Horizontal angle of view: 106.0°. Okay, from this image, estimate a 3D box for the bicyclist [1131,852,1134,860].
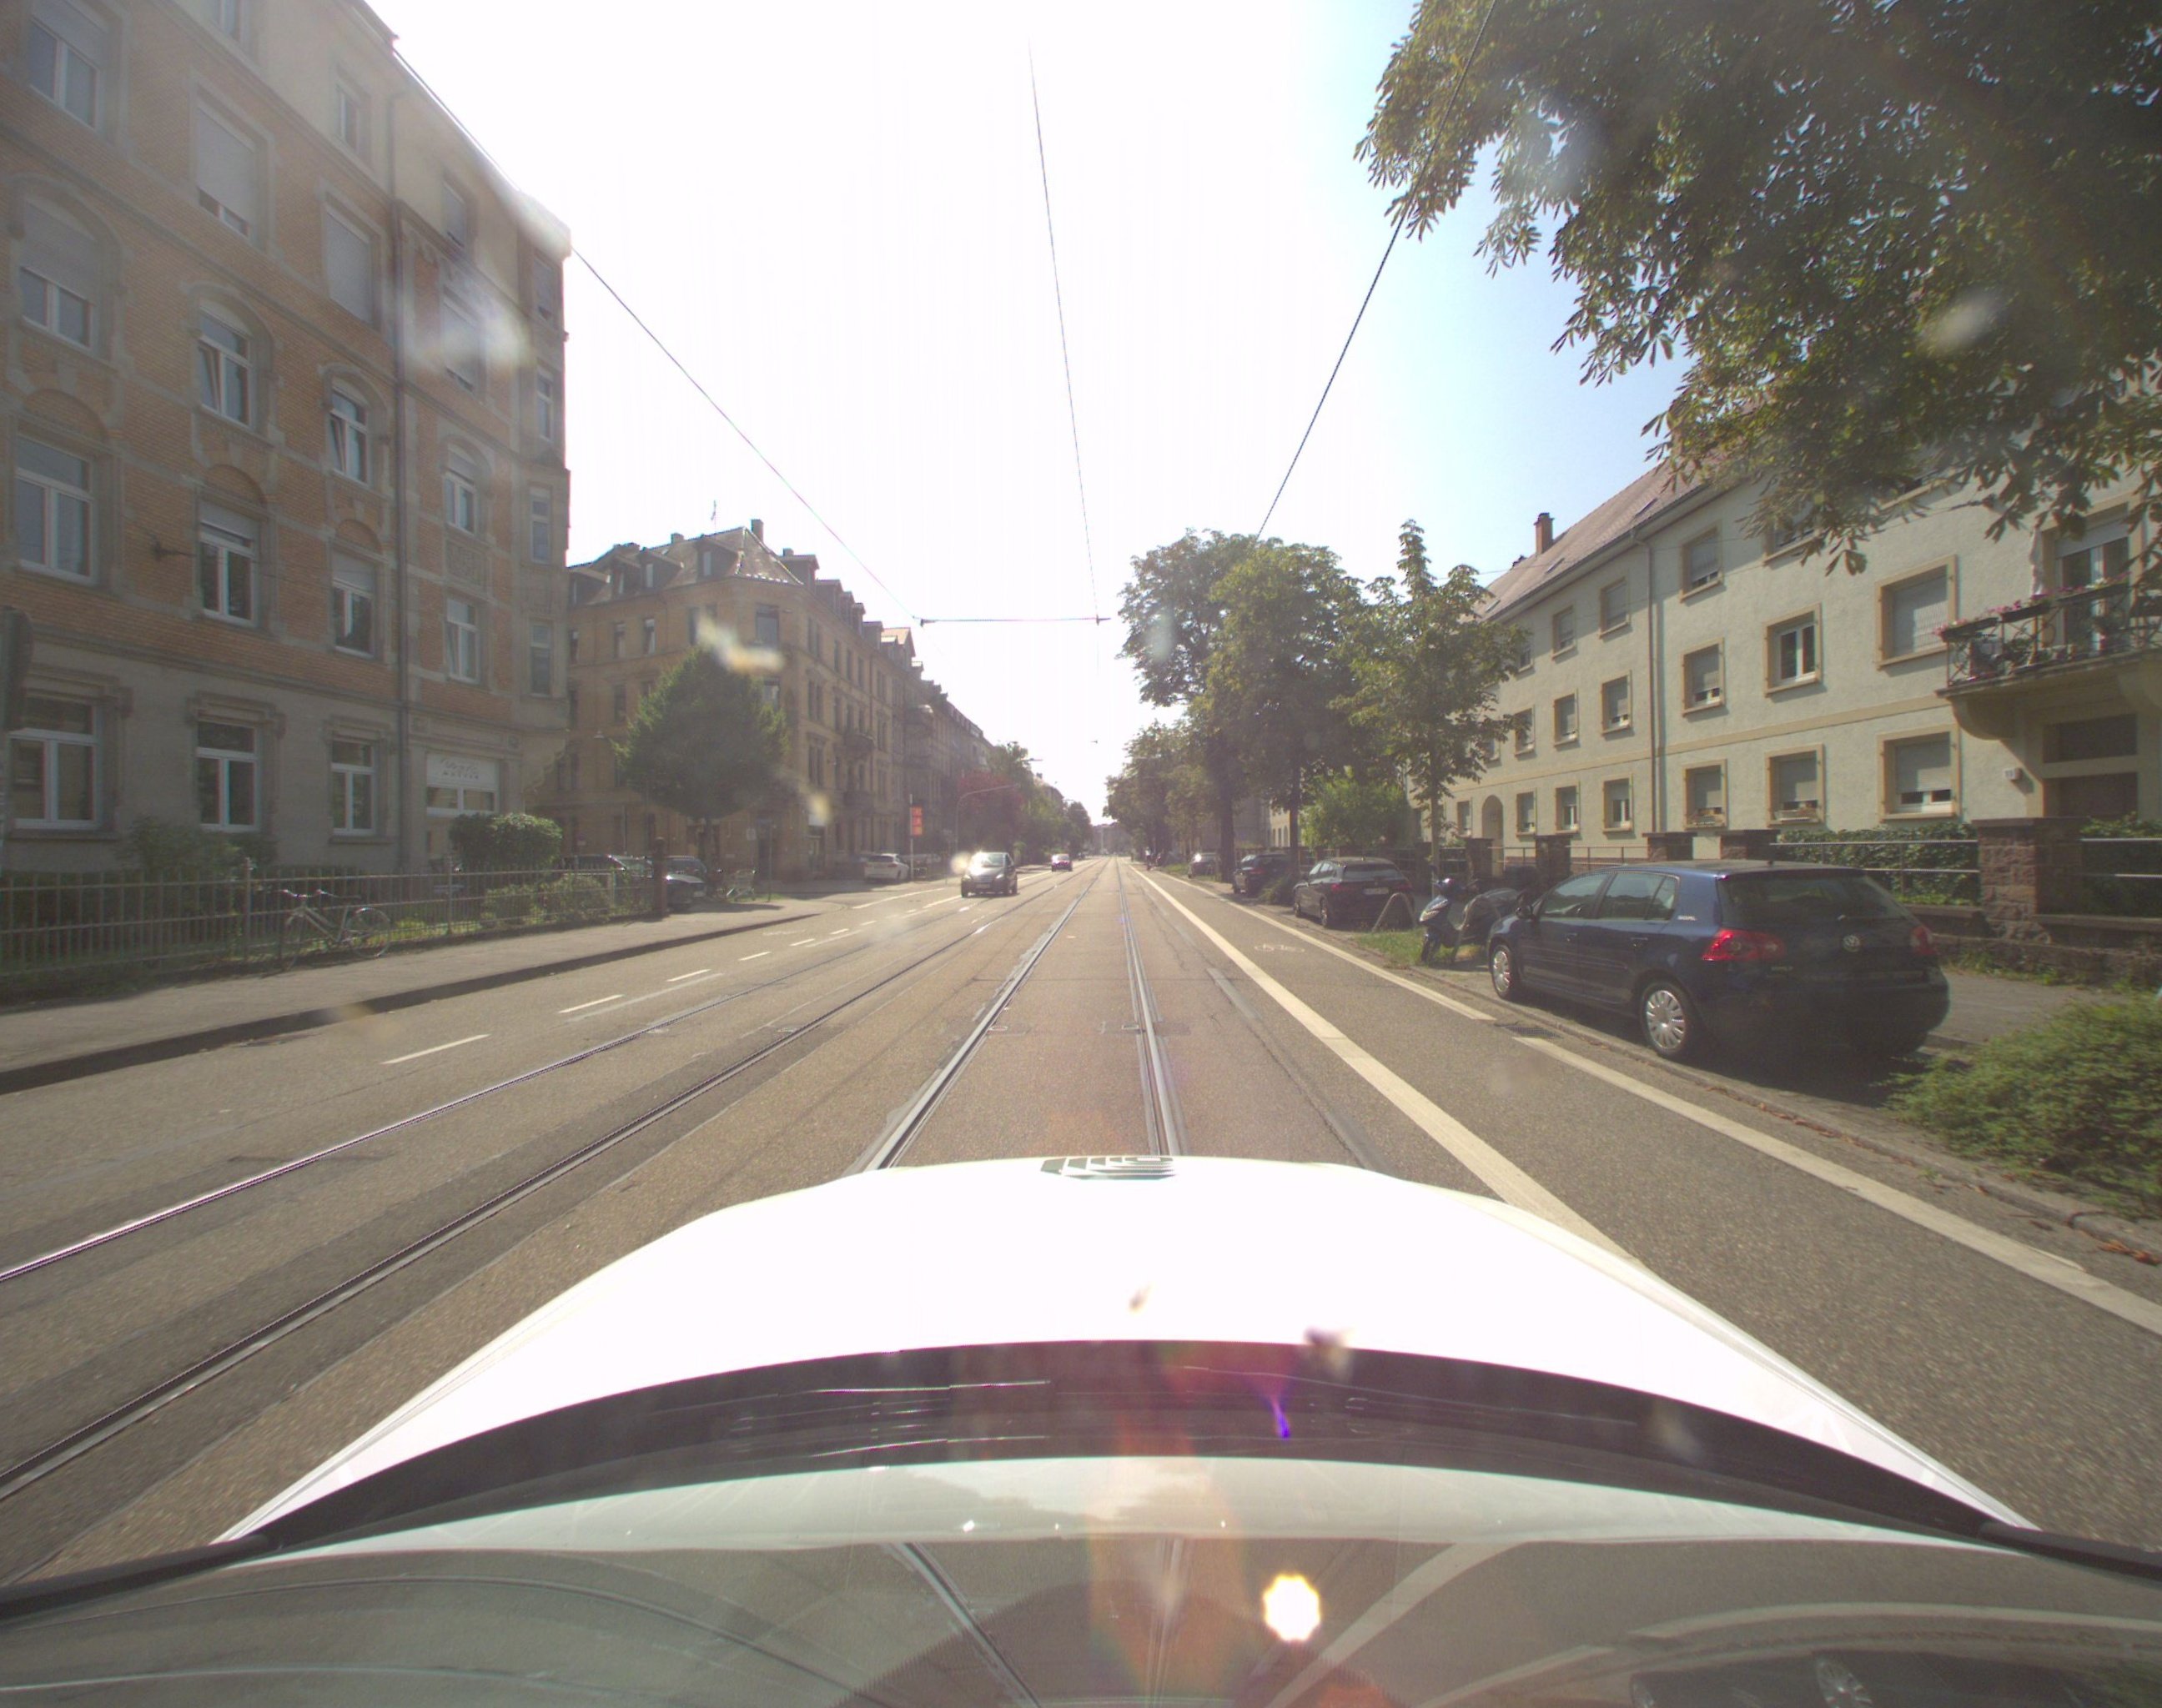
[{"bbox_3d":[8.493,0.315,134.072,0.576,1.279,0.472,0,-1,5],"label":"bicyclist"}]

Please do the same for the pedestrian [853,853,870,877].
[{"bbox_3d":[-13.684,0.680,50.781,0.866,1.511,0.884,0,0,-6],"label":"pedestrian"}]

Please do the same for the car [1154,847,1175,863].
[{"bbox_3d":[8.766,0.133,85.733,1.833,1.532,4.117,-1,2,2],"label":"car"}]

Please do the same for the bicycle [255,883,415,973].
[{"bbox_3d":[-10.039,0.950,11.055,0.388,1.038,1.835,0,0,3],"label":"bicycle"}]

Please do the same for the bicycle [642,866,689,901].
[{"bbox_3d":[-13.364,0.947,26.204,1.437,1.099,0.392,0,1,13],"label":"bicycle"}]

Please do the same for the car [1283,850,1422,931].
[{"bbox_3d":[5.915,0.733,18.319,1.748,1.477,4.460,-4,0,3],"label":"car"}]

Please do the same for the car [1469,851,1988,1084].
[{"bbox_3d":[5.232,0.747,7.400,1.610,1.477,4.042,-2,0,3],"label":"car"}]

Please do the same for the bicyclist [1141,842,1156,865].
[{"bbox_3d":[5.393,-0.030,65.265,1.120,1.837,0.956,0,-1,3],"label":"bicyclist"}]

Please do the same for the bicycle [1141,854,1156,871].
[{"bbox_3d":[5.410,0.659,65.301,1.143,1.269,2.715,-1,0,4],"label":"bicycle"}]

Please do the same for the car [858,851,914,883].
[{"bbox_3d":[-10.471,0.664,44.032,1.988,1.594,4.357,-1,0,-1],"label":"car"}]

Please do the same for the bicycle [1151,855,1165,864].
[{"bbox_3d":[9.417,0.669,99.493,1.712,1.149,0.378,0,0,8],"label":"bicycle"}]

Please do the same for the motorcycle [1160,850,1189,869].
[{"bbox_3d":[8.029,0.465,70.205,2.316,1.540,0.974,-3,-2,43],"label":"motorcycle"}]

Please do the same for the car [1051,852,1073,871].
[{"bbox_3d":[-1.630,0.645,71.145,1.725,1.490,4.002,-1,0,2],"label":"car"}]

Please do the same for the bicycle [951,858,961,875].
[{"bbox_3d":[-8.178,0.813,53.354,0.389,1.099,1.568,0,0,0],"label":"bicycle"}]

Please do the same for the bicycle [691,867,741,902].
[{"bbox_3d":[-11.884,0.986,26.559,1.452,1.099,0.388,0,1,-21],"label":"bicycle"}]

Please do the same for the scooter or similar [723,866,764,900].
[{"bbox_3d":[-11.544,0.975,27.890,0.592,1.099,1.394,0,1,12],"label":"scooter or similar"}]

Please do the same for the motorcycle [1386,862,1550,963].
[{"bbox_3d":[5.578,0.823,11.818,1.997,1.368,0.782,-1,0,-1],"label":"motorcycle"}]

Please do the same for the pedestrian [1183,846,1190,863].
[{"bbox_3d":[12.344,0.052,95.351,0.703,1.892,0.715,0,-1,4],"label":"pedestrian"}]

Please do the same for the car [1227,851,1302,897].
[{"bbox_3d":[6.375,0.631,28.707,1.749,1.477,4.388,-1,0,2],"label":"car"}]

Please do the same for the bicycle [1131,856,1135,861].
[{"bbox_3d":[8.493,0.737,134.045,0.585,0.939,2.174,0,0,5],"label":"bicycle"}]

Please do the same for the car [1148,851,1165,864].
[{"bbox_3d":[9.518,0.429,103.003,1.833,1.532,4.782,-2,0,2],"label":"car"}]

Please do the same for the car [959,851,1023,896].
[{"bbox_3d":[-3.288,0.676,30.472,1.820,1.540,4.002,-1,0,2],"label":"car"}]

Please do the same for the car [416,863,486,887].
[{"bbox_3d":[-35.976,1.198,46.484,3.554,1.364,1.636,-1,-1,24],"label":"car"}]

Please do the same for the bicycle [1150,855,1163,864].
[{"bbox_3d":[9.180,0.674,99.127,1.596,1.103,0.399,0,0,8],"label":"bicycle"}]

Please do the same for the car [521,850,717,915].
[{"bbox_3d":[-12.048,0.714,21.430,4.084,1.594,1.881,0,0,3],"label":"car"}]

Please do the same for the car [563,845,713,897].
[{"bbox_3d":[-15.568,0.539,28.892,1.976,1.688,4.383,-1,0,23],"label":"car"}]

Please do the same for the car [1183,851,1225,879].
[{"bbox_3d":[7.043,0.597,47.142,1.885,1.477,4.843,-1,0,2],"label":"car"}]

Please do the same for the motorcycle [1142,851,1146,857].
[{"bbox_3d":[12.010,-0.053,155.207,0.546,1.068,2.332,0,0,3],"label":"motorcycle"}]

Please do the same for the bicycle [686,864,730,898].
[{"bbox_3d":[-12.980,0.929,28.355,0.385,1.099,1.460,0,1,27],"label":"bicycle"}]

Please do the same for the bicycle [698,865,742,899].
[{"bbox_3d":[-12.390,0.957,27.962,0.385,1.099,1.460,0,1,27],"label":"bicycle"}]
